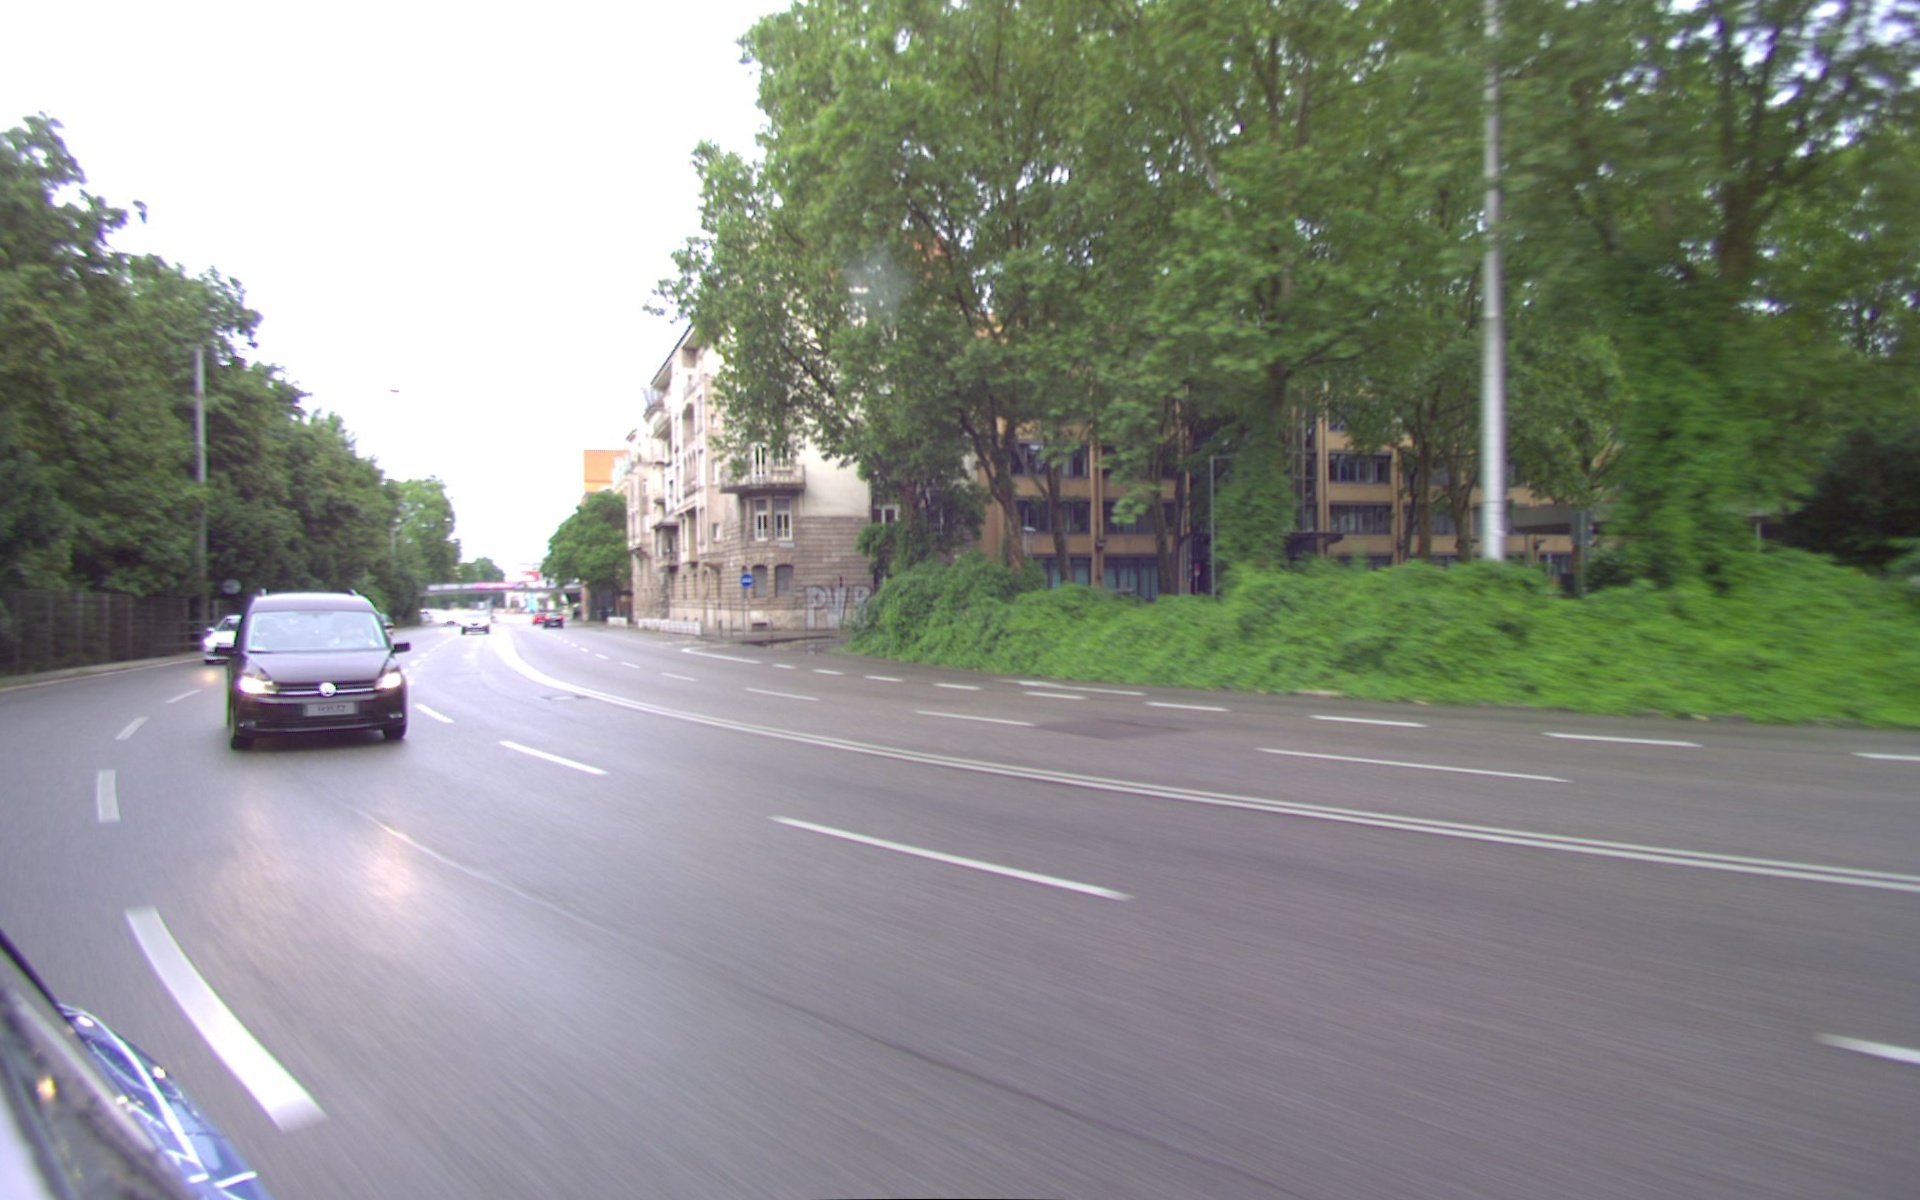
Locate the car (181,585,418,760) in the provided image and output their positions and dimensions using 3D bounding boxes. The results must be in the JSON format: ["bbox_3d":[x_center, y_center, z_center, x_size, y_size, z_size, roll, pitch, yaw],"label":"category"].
[{"bbox_3d":[-8.289,0.801,12.551,1.815,1.804,4.004,1,-2,-43],"label":"car"}]

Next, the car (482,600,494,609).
[{"bbox_3d":[-86.298,0.803,184.965,1.794,1.623,4.013,-3,1,-24],"label":"car"}]

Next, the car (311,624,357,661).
[{"bbox_3d":[-31.051,2.088,50.175,1.773,1.608,4.011,-4,1,-33],"label":"car"}]

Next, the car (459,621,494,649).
[{"bbox_3d":[-34.678,2.494,72.718,1.674,1.811,3.814,-3,1,-18],"label":"car"}]

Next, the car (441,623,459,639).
[{"bbox_3d":[-63.466,3.833,126.046,1.847,1.785,4.013,-3,1,-25],"label":"car"}]

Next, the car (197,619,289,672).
[{"bbox_3d":[-22.271,1.361,31.574,1.702,1.450,4.013,-2,0,-26],"label":"car"}]

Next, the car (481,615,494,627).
[{"bbox_3d":[-77.863,3.407,166.639,1.847,1.785,4.013,-3,1,-25],"label":"car"}]

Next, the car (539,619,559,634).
[{"bbox_3d":[-38.229,2.422,94.085,1.677,1.349,3.928,-1,-1,-23],"label":"car"}]
